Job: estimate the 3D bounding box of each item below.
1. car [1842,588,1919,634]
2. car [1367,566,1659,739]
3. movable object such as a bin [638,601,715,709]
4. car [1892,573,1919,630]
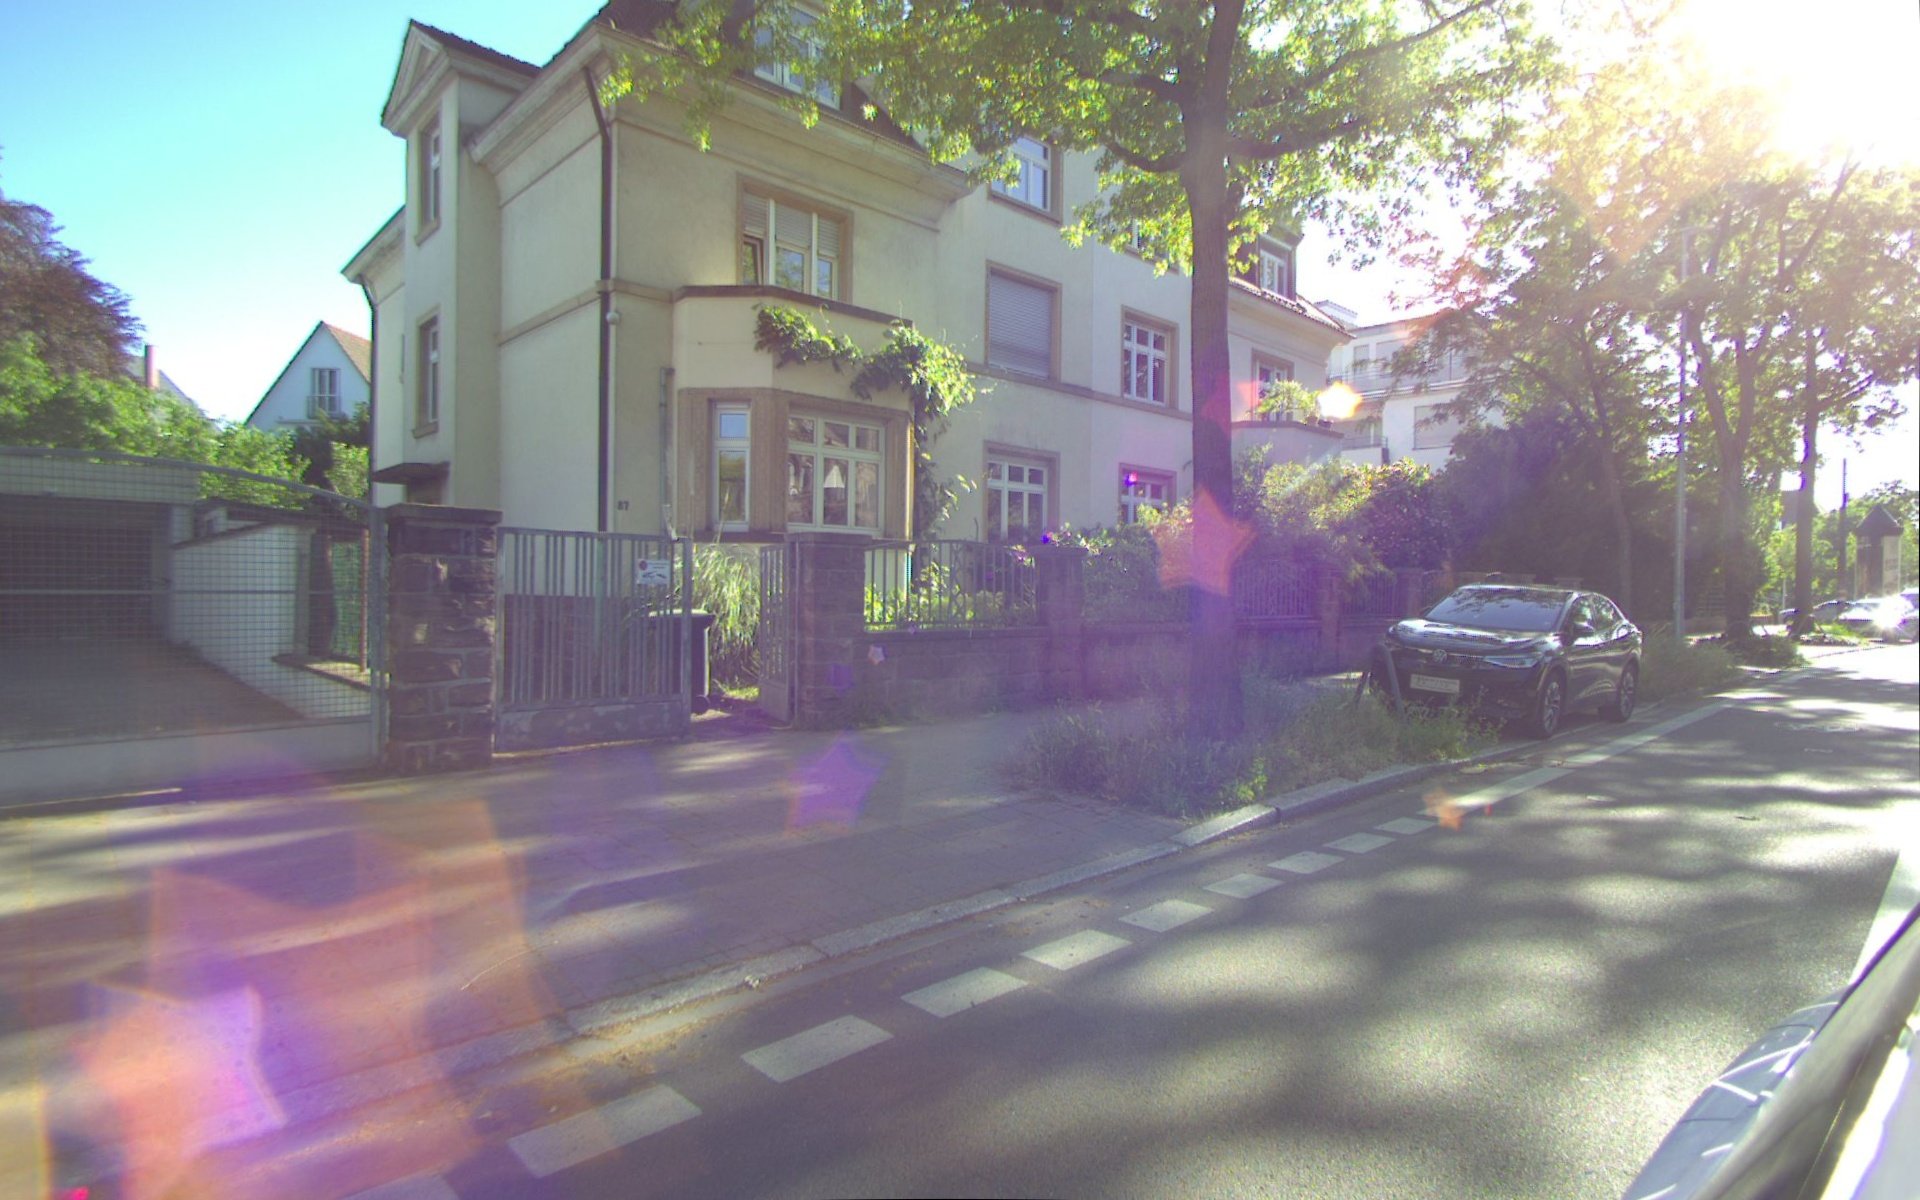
[{"bbox_3d":[31.549,0.341,34.422,3.930,1.469,1.785,0,1,-41],"label":"car"},{"bbox_3d":[6.697,0.498,12.073,4.021,1.626,1.743,0,4,-42],"label":"car"},{"bbox_3d":[-3.054,0.557,10.847,0.697,1.070,1.093,0,0,-20],"label":"movable object such as a bin"},{"bbox_3d":[36.784,0.054,38.084,4.503,2.039,1.997,0,1,-41],"label":"car"}]
